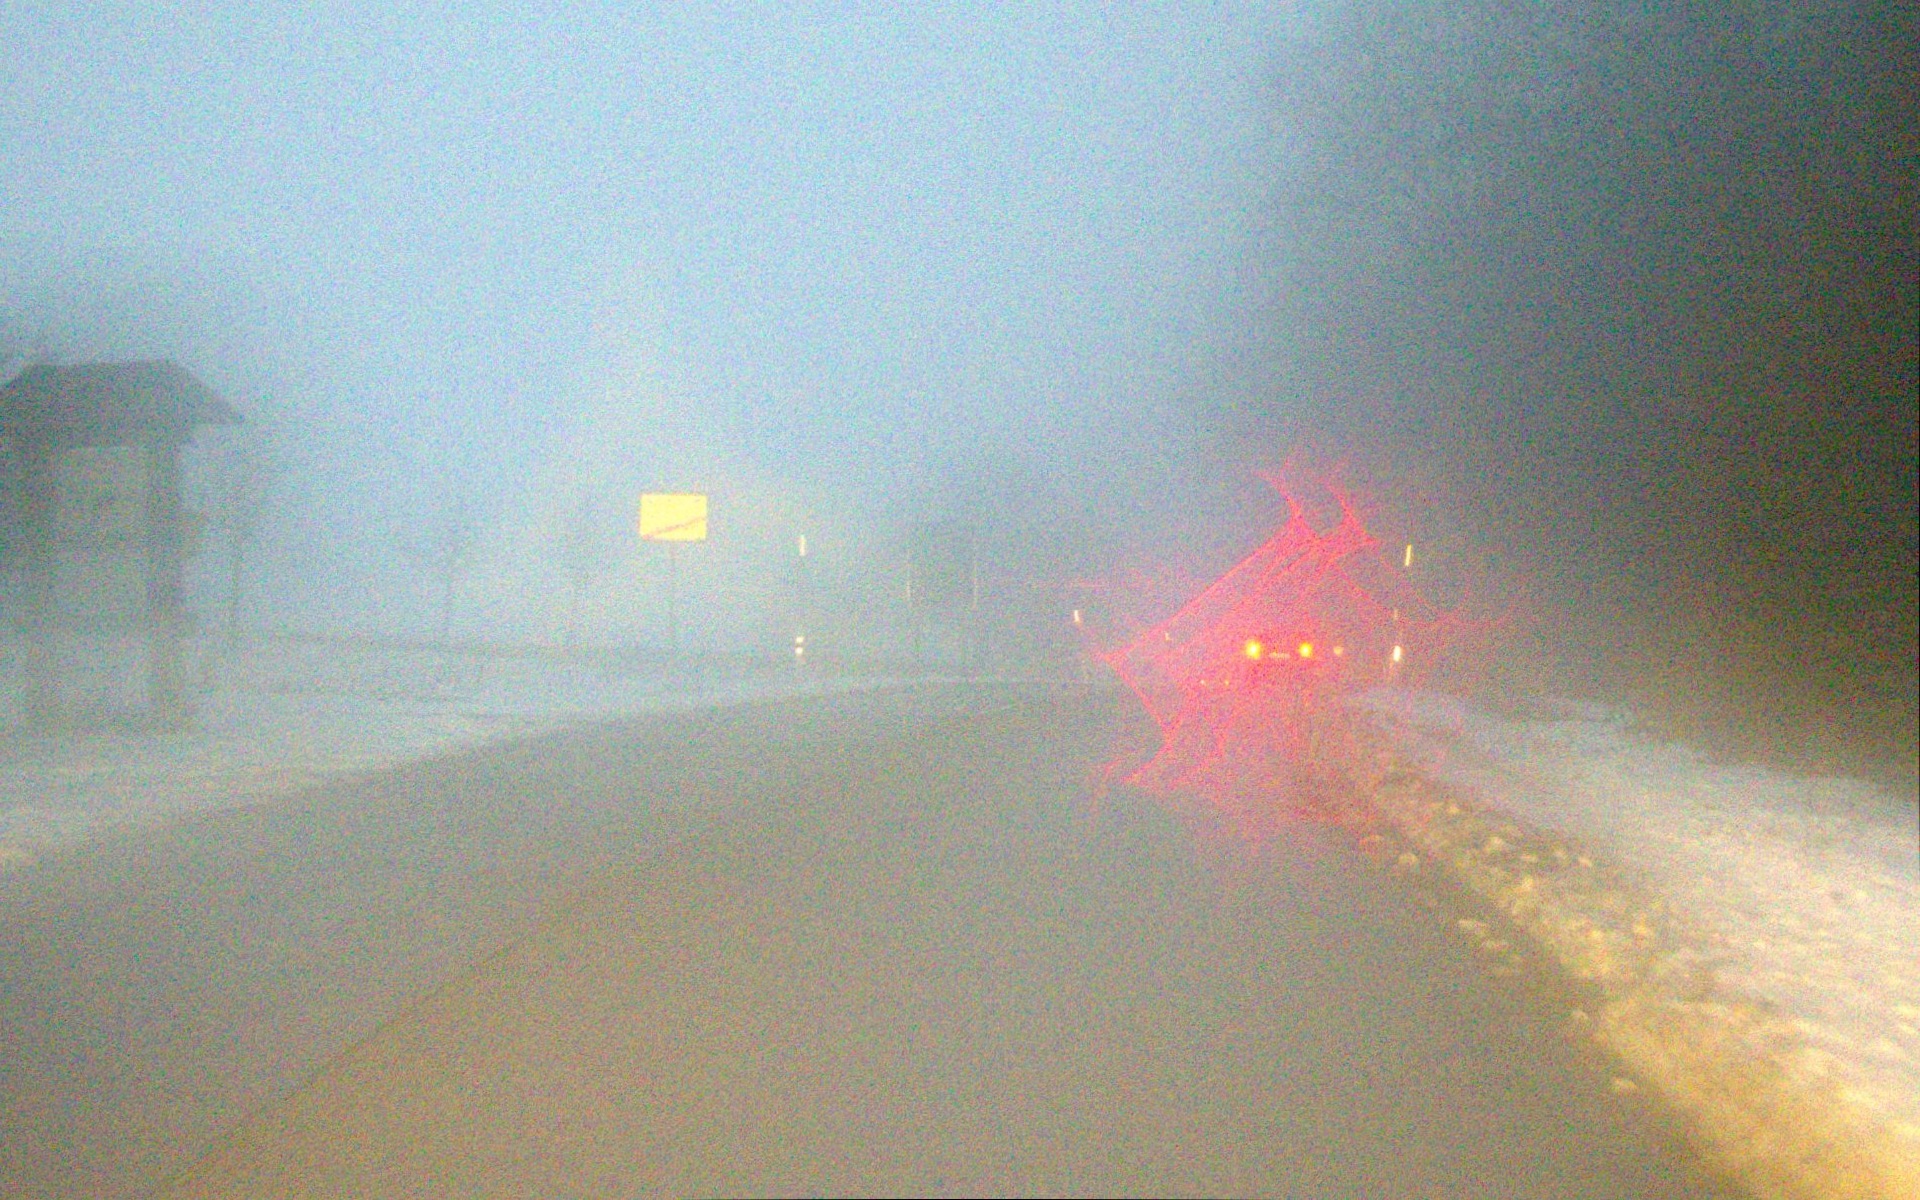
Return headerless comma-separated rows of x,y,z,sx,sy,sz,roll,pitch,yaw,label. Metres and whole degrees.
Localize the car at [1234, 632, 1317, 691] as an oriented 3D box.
7.924,1.538,86.579,1.994,1.415,3.999,0,0,4,car
